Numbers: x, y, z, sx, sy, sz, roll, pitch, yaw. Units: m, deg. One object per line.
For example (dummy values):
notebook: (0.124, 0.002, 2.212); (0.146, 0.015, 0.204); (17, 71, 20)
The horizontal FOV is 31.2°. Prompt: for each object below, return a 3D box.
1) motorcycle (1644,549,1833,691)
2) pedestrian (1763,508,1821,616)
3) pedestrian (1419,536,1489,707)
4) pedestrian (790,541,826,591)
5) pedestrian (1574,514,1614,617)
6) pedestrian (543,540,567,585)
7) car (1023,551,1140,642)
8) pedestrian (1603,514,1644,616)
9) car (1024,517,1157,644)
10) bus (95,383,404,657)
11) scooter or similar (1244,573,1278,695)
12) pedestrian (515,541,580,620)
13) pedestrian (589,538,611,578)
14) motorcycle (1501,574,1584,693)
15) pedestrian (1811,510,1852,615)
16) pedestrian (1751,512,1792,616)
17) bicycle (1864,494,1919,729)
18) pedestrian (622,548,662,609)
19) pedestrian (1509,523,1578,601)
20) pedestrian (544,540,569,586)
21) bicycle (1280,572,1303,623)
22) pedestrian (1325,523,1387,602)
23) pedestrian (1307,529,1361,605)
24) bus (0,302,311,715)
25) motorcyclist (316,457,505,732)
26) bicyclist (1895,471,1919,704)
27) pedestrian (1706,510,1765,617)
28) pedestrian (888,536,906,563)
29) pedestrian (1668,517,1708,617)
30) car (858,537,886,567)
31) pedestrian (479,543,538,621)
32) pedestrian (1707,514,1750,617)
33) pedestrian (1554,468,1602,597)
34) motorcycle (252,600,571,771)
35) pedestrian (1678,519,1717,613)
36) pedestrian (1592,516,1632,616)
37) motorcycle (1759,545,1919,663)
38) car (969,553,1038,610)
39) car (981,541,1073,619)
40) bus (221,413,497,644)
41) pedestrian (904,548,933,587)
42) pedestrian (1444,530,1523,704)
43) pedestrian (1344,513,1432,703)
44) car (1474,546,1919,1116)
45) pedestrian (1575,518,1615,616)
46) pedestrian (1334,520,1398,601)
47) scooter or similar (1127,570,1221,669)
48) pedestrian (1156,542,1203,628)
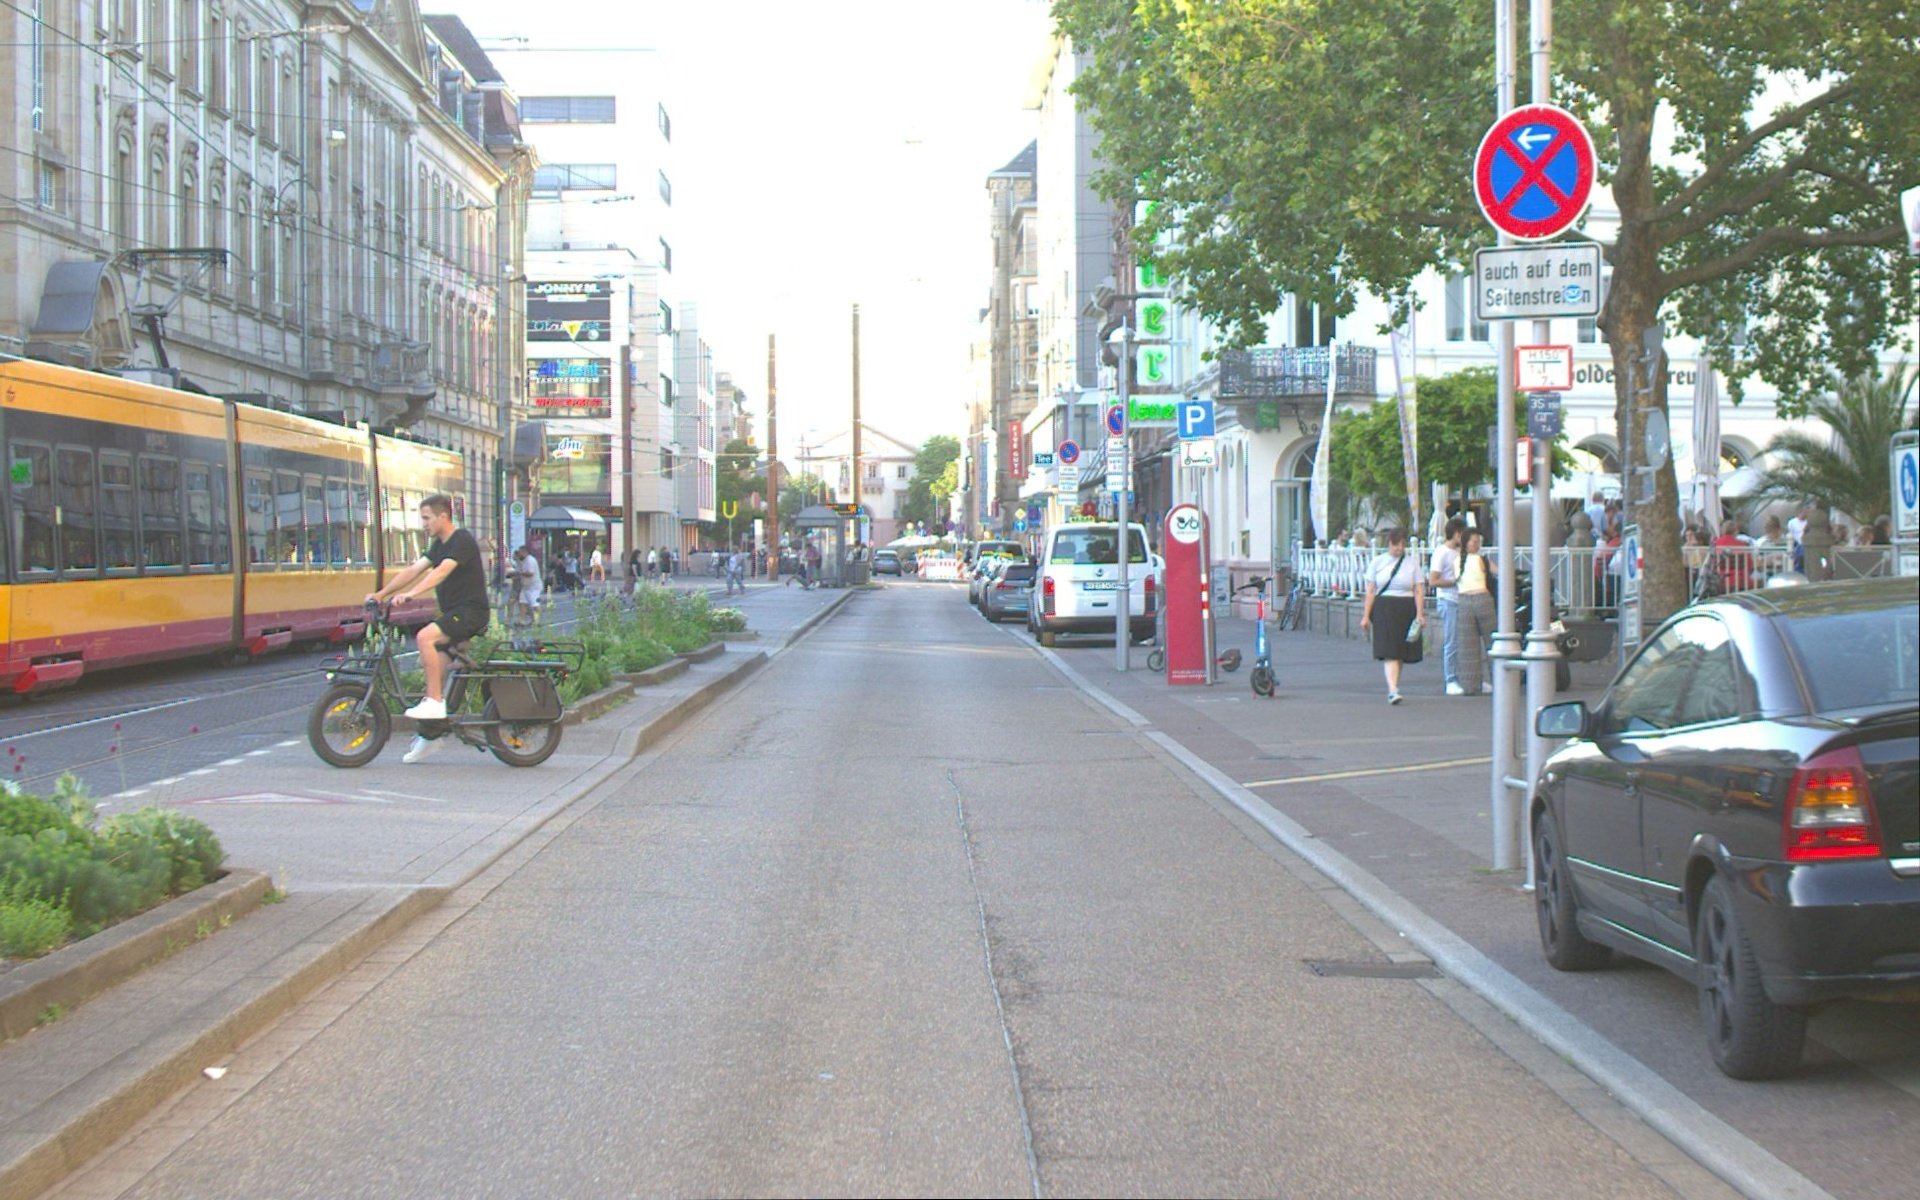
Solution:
motorcycle: (8.033, 0.188, 35.569); (0.564, 1.418, 2.297); (0, 1, -27)
pedestrian: (10.059, -0.452, 41.562); (0.645, 1.280, 0.740); (-1, -1, 15)
pedestrian: (5.021, 0.223, 34.951); (0.614, 1.711, 0.662); (0, -1, 1)
pedestrian: (-5.291, -1.180, 119.533); (1.049, 1.680, 0.908); (-1, -1, 11)
pedestrian: (8.316, -0.449, 45.056); (0.474, 1.325, 0.539); (-1, -1, 14)
pedestrian: (-14.220, -1.306, 120.589); (0.777, 1.575, 0.679); (0, 1, -12)
car: (2.283, -0.075, 65.602); (1.993, 1.661, 4.421); (0, 0, -1)
pedestrian: (8.460, -0.439, 43.826); (0.474, 1.280, 0.539); (-1, -1, 14)
car: (2.083, -0.320, 56.010); (1.915, 1.975, 4.421); (0, 0, -1)
bus: (-10.097, -1.091, 49.765); (2.822, 3.612, 8.289); (0, 0, -1)
scooter or similar: (3.087, 0.335, 35.198); (0.315, 1.217, 1.272); (0, 1, 6)
pedestrian: (-8.026, -0.375, 66.947); (0.718, 1.509, 1.035); (-1, -1, 43)
pedestrian: (-17.400, -2.045, 166.287); (0.905, 1.922, 0.851); (0, 1, -17)
motorcycle: (5.865, 0.322, 34.702); (0.455, 1.154, 2.031); (0, 1, -1)
pedestrian: (10.809, -0.460, 42.624); (0.474, 1.280, 0.539); (-1, -1, 15)
pedestrian: (10.167, -0.444, 43.058); (0.474, 1.280, 0.539); (-1, -1, 15)
bicycle: (7.805, 0.071, 26.267); (2.362, 1.734, 0.603); (-1, 1, -44)
pedestrian: (-8.838, -0.609, 95.555); (1.048, 1.680, 0.908); (0, 1, -10)
pedestrian: (9.705, -0.622, 57.184); (0.963, 1.262, 0.905); (0, -1, -1)
pedestrian: (-14.062, -1.284, 119.772); (0.773, 1.575, 0.679); (0, 1, -12)
bicycle: (5.974, -0.046, 61.941); (0.250, 0.899, 1.374); (0, -1, -1)
pedestrian: (6.654, -0.631, 57.832); (0.902, 1.301, 0.967); (0, -1, -1)
pedestrian: (6.551, -0.574, 60.267); (0.822, 1.301, 0.870); (0, -1, -1)
bus: (-9.949, -0.912, 37.092); (2.822, 3.639, 17.074); (0, 1, -1)
motorcyclist: (-3.717, -0.030, 23.204); (1.001, 1.807, 0.960); (0, -1, -27)
bicyclist: (7.820, -0.096, 26.245); (0.929, 1.770, 0.970); (-1, 1, -45)
pedestrian: (9.431, -0.440, 41.803); (0.645, 1.280, 0.740); (-1, -1, 15)
pedestrian: (-4.096, -3.269, 222.958); (0.782, 1.728, 0.811); (-1, -1, 39)
pedestrian: (9.414, -0.421, 44.469); (0.474, 1.280, 0.539); (-1, -1, 14)
car: (-5.729, -3.121, 224.400); (1.760, 1.821, 3.570); (0, -1, -1)
pedestrian: (-8.855, -0.341, 67.428); (0.758, 1.509, 0.861); (-1, -1, 43)
pedestrian: (9.717, -0.430, 43.469); (0.477, 1.280, 0.525); (-1, -1, 16)
pedestrian: (11.111, -1.213, 61.791); (0.612, 2.297, 0.581); (0, -1, -22)
motorcycle: (-3.695, 0.562, 23.210); (2.043, 1.120, 0.568); (0, -1, -27)
pedestrian: (9.779, -0.447, 45.564); (0.474, 1.237, 0.539); (-1, -1, 14)
pedestrian: (8.432, -0.432, 44.446); (0.474, 1.280, 0.539); (-1, -1, 14)
motorcycle: (9.131, 0.028, 35.764); (0.550, 1.147, 1.798); (0, 2, -27)
car: (1.337, -0.558, 106.903); (1.993, 1.661, 4.421); (0, -1, -1)
car: (1.557, -0.470, 80.884); (1.993, 1.755, 4.421); (0, 0, -1)
bus: (-10.217, -1.118, 59.822); (2.822, 3.600, 11.823); (0, 0, -1)
pedestrian: (-2.072, -1.630, 170.940); (1.229, 1.922, 1.022); (0, 1, -16)
pedestrian: (5.211, 0.175, 34.241); (0.678, 1.711, 0.654); (0, -1, 2)
pedestrian: (4.138, 0.075, 33.276); (0.714, 1.797, 0.824); (-2, 0, 2)
car: (2.883, 0.567, 11.115); (1.655, 1.375, 4.341); (-4, 1, -1)
pedestrian: (8.427, -0.434, 45.638); (0.474, 1.280, 0.539); (-1, -1, 14)
pedestrian: (6.707, -0.642, 56.797); (0.902, 1.309, 0.967); (0, -1, -1)
scooter or similar: (2.669, 0.243, 42.922); (1.125, 1.212, 0.300); (-1, 0, 1)
pedestrian: (4.480, -0.304, 70.227); (0.786, 1.745, 0.895); (0, -1, -8)
